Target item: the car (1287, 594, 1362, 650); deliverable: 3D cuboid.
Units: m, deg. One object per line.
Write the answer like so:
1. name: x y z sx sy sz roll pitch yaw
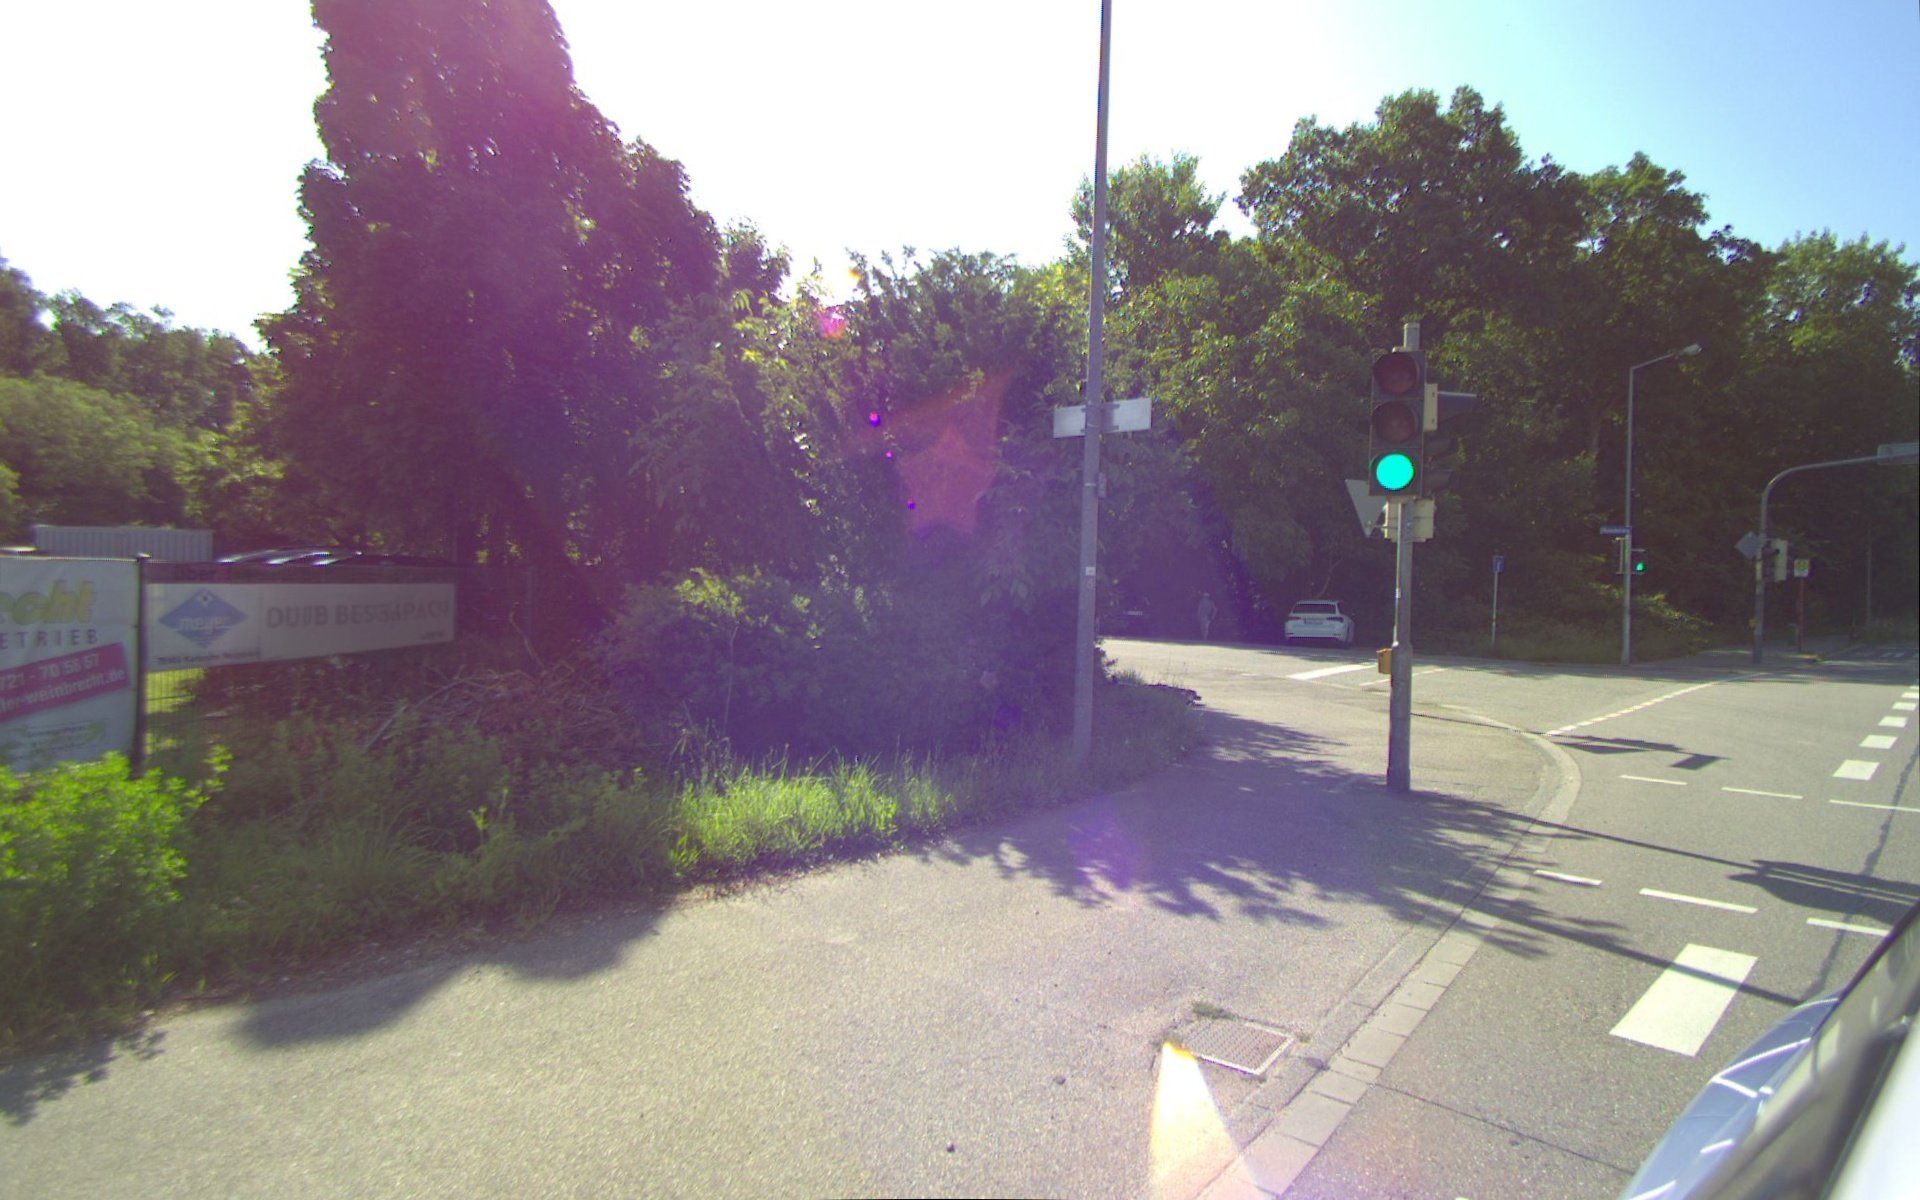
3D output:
1. car: 11.030 0.593 30.422 1.613 1.482 4.574 2 1 26

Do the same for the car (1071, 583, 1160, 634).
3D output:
1. car: 4.953 0.226 32.788 1.595 1.482 3.798 1 1 -12

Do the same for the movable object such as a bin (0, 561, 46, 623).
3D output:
1. movable object such as a bin: -21.293 -0.187 22.479 1.211 1.341 0.850 1 1 0

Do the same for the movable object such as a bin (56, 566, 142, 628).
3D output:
1. movable object such as a bin: -19.037 -0.082 22.383 1.214 1.305 0.864 1 1 9

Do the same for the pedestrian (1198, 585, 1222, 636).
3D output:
1. pedestrian: 8.151 0.343 33.000 0.598 1.650 0.415 2 1 -3

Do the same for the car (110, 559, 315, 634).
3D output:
1. car: -16.335 -0.092 22.182 3.451 1.456 1.681 0 3 -43

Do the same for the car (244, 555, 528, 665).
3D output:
1. car: -9.608 0.133 17.142 1.679 1.649 3.877 2 1 44

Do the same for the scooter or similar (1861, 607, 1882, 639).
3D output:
1. scooter or similar: 39.021 0.968 43.345 0.398 1.323 1.315 2 1 31

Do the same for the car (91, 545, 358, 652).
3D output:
1. car: -14.014 -0.122 19.435 1.679 1.815 3.879 2 4 44
